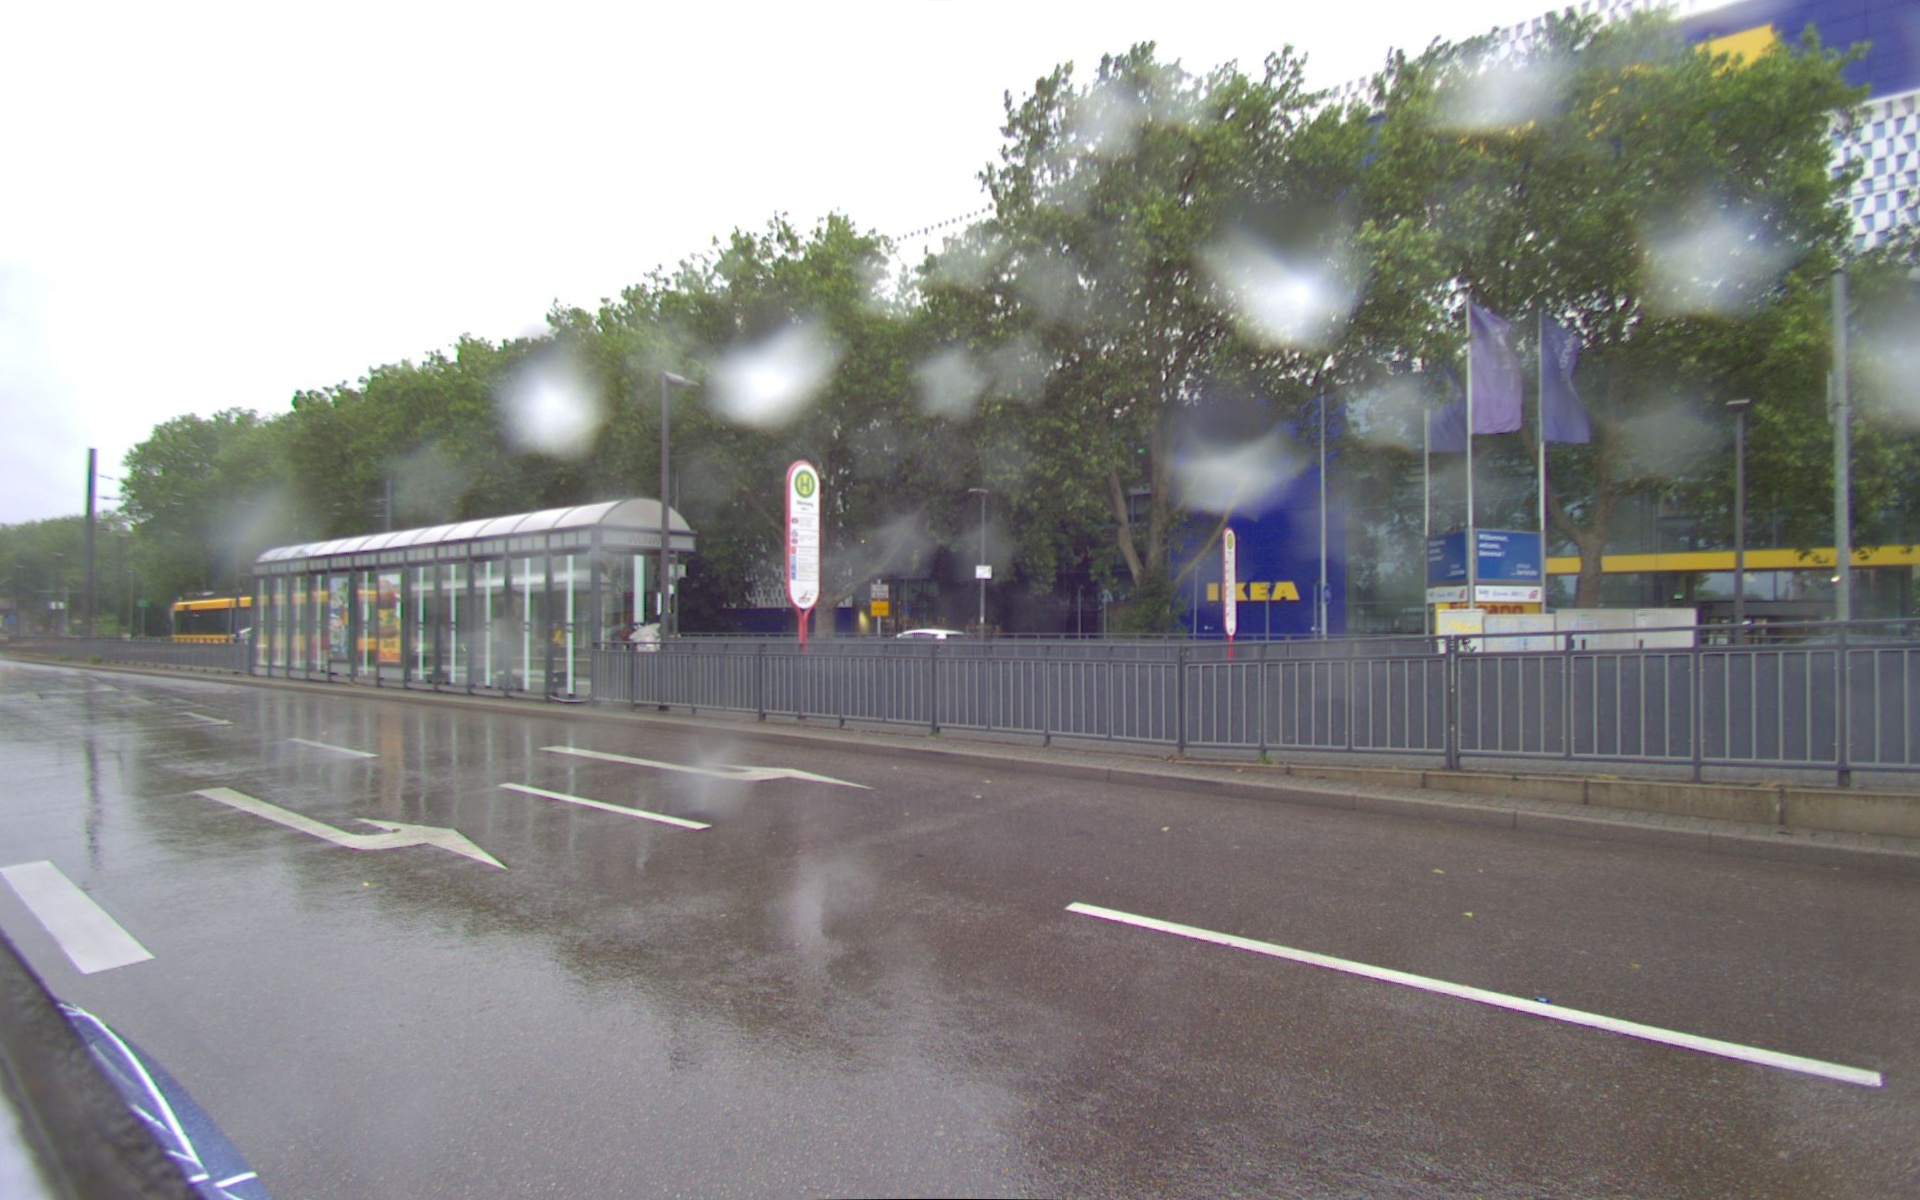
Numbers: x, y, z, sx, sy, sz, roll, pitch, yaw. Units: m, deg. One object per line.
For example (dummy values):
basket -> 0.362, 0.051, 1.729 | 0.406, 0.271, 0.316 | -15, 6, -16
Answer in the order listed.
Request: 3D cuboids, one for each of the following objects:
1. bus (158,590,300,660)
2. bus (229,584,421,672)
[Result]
bus -> -39.599, 1.246, 54.434 | 15.056, 3.354, 2.900 | -1, 0, 41
bus -> -28.229, 1.126, 44.415 | 15.055, 3.354, 2.901 | -1, 0, 41
